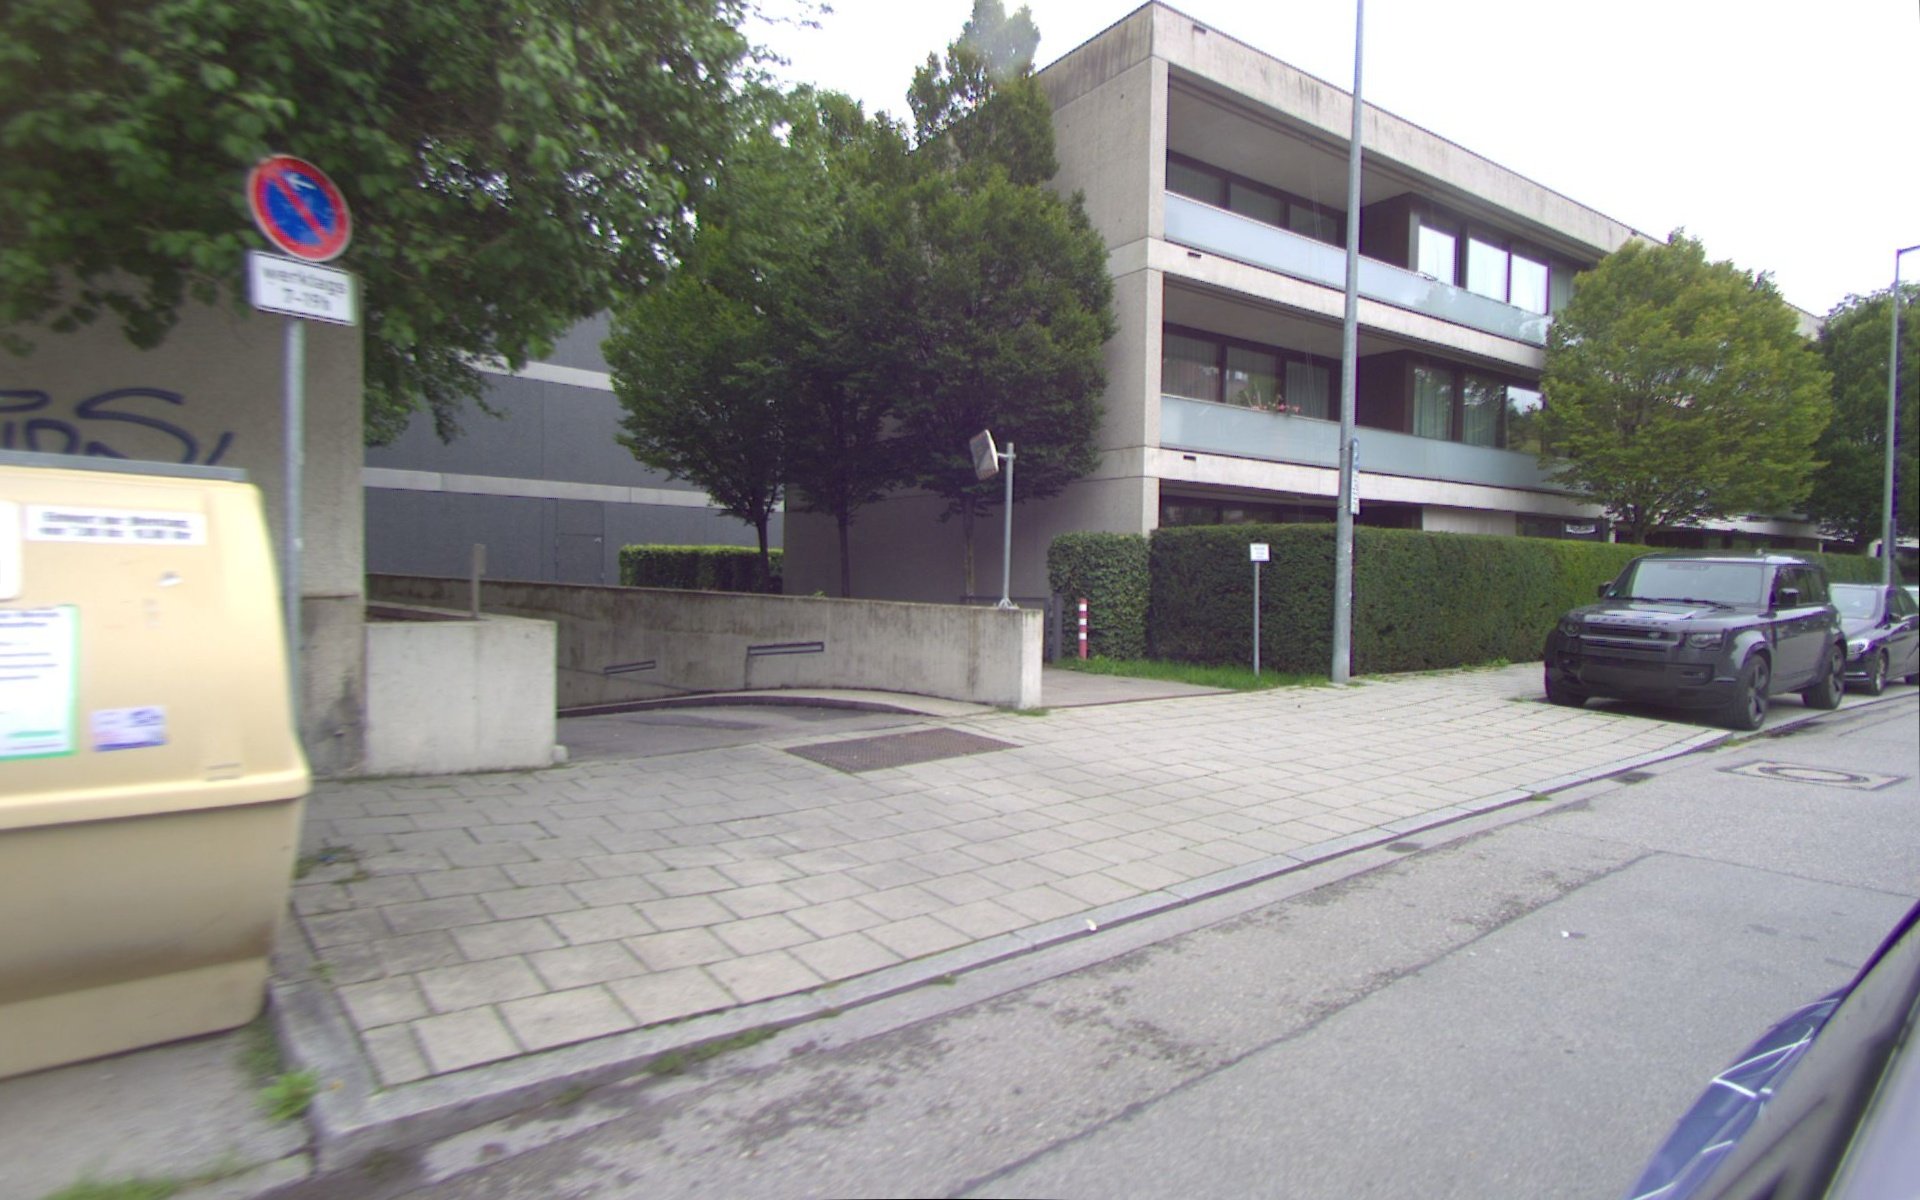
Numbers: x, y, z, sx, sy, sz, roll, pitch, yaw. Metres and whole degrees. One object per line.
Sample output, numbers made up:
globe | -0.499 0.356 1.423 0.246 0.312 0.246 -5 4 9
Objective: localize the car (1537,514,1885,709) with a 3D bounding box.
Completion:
car | 9.113 0.020 12.127 4.984 1.894 1.994 -2 2 -36

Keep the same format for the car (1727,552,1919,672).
car | 13.386 0.093 15.213 4.484 1.558 1.753 -1 2 -37

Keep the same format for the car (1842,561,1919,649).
car | 17.919 0.065 18.536 3.814 1.498 1.754 -1 2 -35
